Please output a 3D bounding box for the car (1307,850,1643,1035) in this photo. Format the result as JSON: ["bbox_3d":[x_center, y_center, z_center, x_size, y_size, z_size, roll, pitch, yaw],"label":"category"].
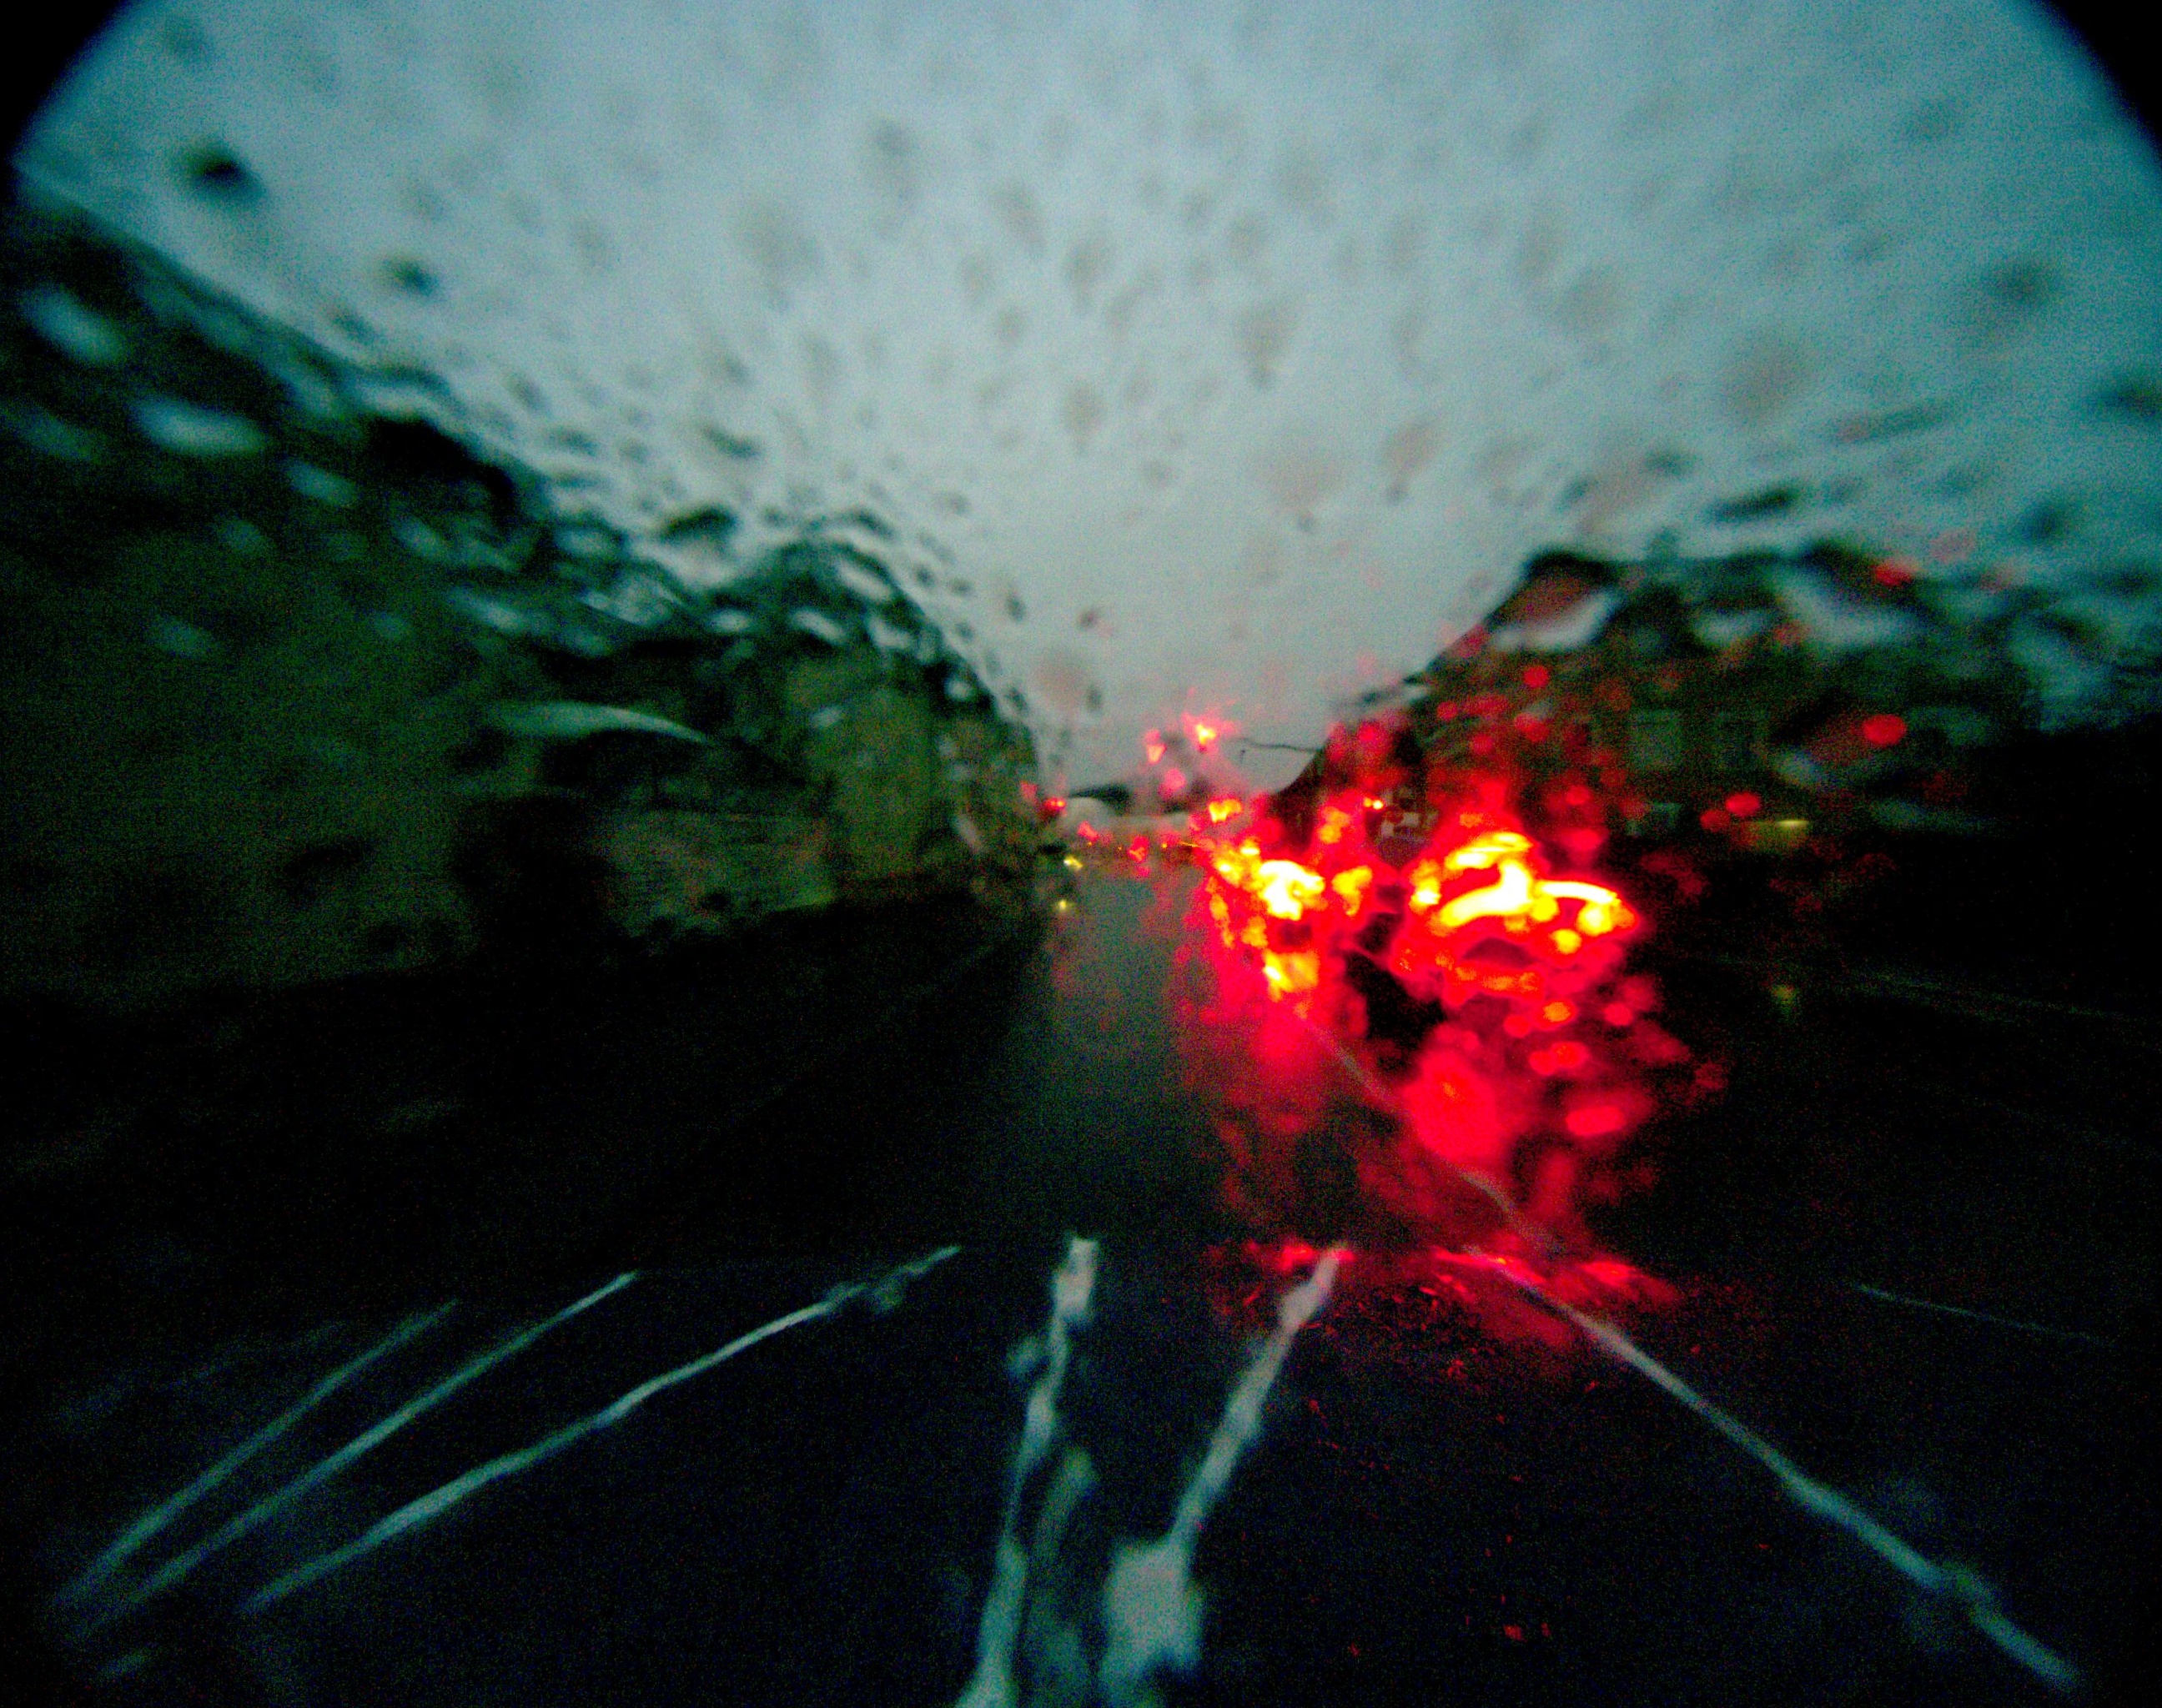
[{"bbox_3d":[4.132,0.776,8.906,1.880,1.576,4.290,1,1,3],"label":"car"}]

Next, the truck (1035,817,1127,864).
[{"bbox_3d":[0.057,-0.896,53.196,6.265,3.211,2.471,0,1,6],"label":"truck"}]

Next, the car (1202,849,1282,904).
[{"bbox_3d":[4.606,0.579,22.330,1.884,1.386,4.525,0,1,7],"label":"car"}]

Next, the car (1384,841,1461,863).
[{"bbox_3d":[22.504,-0.133,50.203,4.376,1.430,1.668,0,0,6],"label":"car"}]

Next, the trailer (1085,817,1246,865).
[{"bbox_3d":[5.784,-0.895,52.618,10.855,3.222,2.497,0,1,6],"label":"trailer"}]

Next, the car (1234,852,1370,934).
[{"bbox_3d":[4.298,0.678,15.483,1.829,1.365,4.286,0,1,5],"label":"car"}]
